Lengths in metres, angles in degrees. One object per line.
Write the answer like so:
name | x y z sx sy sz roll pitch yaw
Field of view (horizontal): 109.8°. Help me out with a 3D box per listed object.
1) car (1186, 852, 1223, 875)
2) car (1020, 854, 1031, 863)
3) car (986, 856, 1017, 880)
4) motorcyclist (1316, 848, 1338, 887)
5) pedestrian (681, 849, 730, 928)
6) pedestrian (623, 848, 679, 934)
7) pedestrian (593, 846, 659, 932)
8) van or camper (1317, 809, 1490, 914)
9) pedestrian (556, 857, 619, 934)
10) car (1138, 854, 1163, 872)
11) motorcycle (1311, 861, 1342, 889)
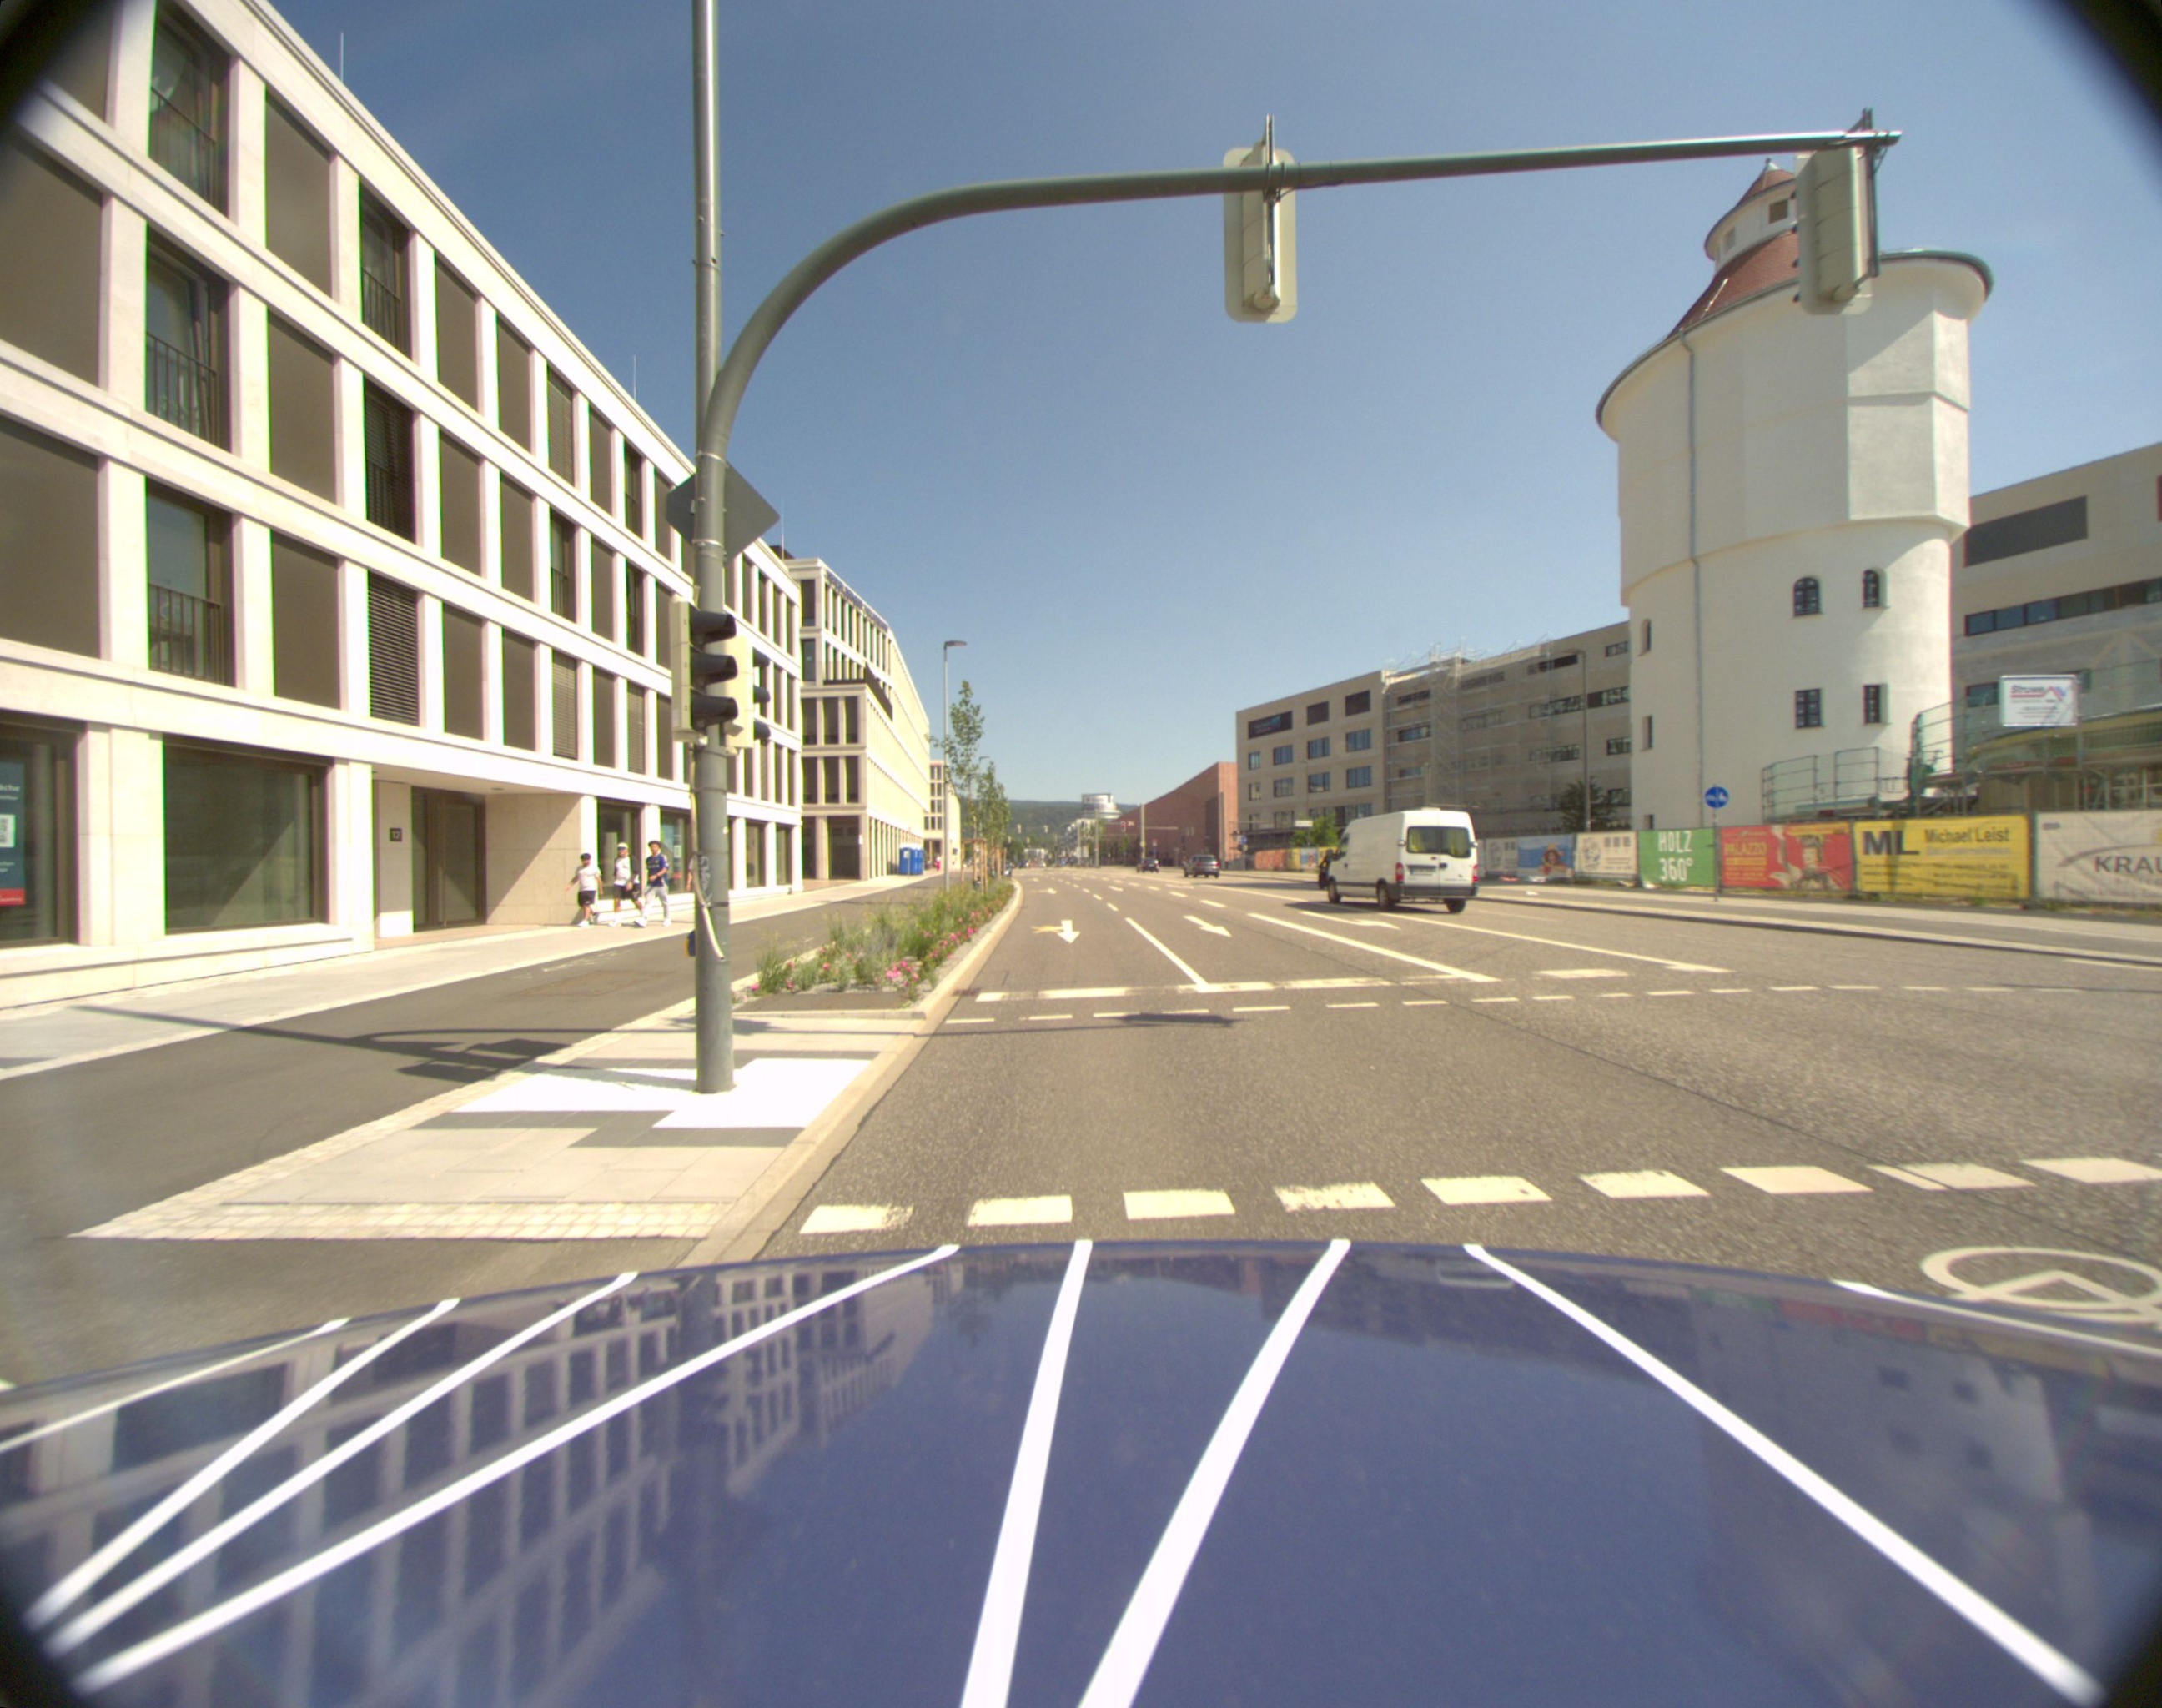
car | 8.864 0.624 54.917 1.802 1.581 3.969 0 1 -4
car | -9.626 0.774 130.905 1.784 1.552 3.830 -2 0 -4
car | -5.464 0.957 52.698 1.810 1.499 3.999 -2 0 -2
motorcyclist | 10.506 0.560 32.493 0.620 1.650 0.927 0 1 -1
pedestrian | -8.501 0.758 17.227 0.578 1.710 0.996 -1 1 -2
pedestrian | -8.985 0.752 15.911 0.578 1.730 0.996 -1 1 -2
pedestrian | -9.758 0.725 16.326 0.826 1.773 0.926 -1 1 -2
van or camper | 8.330 0.135 20.398 2.158 2.400 5.680 0 1 0
pedestrian | -10.428 0.860 16.092 0.770 1.557 0.842 -1 1 -2
car | 6.651 0.856 72.910 1.934 1.603 3.999 -1 1 -2
motorcycle | 10.501 0.875 32.579 0.585 1.098 2.214 1 1 0
